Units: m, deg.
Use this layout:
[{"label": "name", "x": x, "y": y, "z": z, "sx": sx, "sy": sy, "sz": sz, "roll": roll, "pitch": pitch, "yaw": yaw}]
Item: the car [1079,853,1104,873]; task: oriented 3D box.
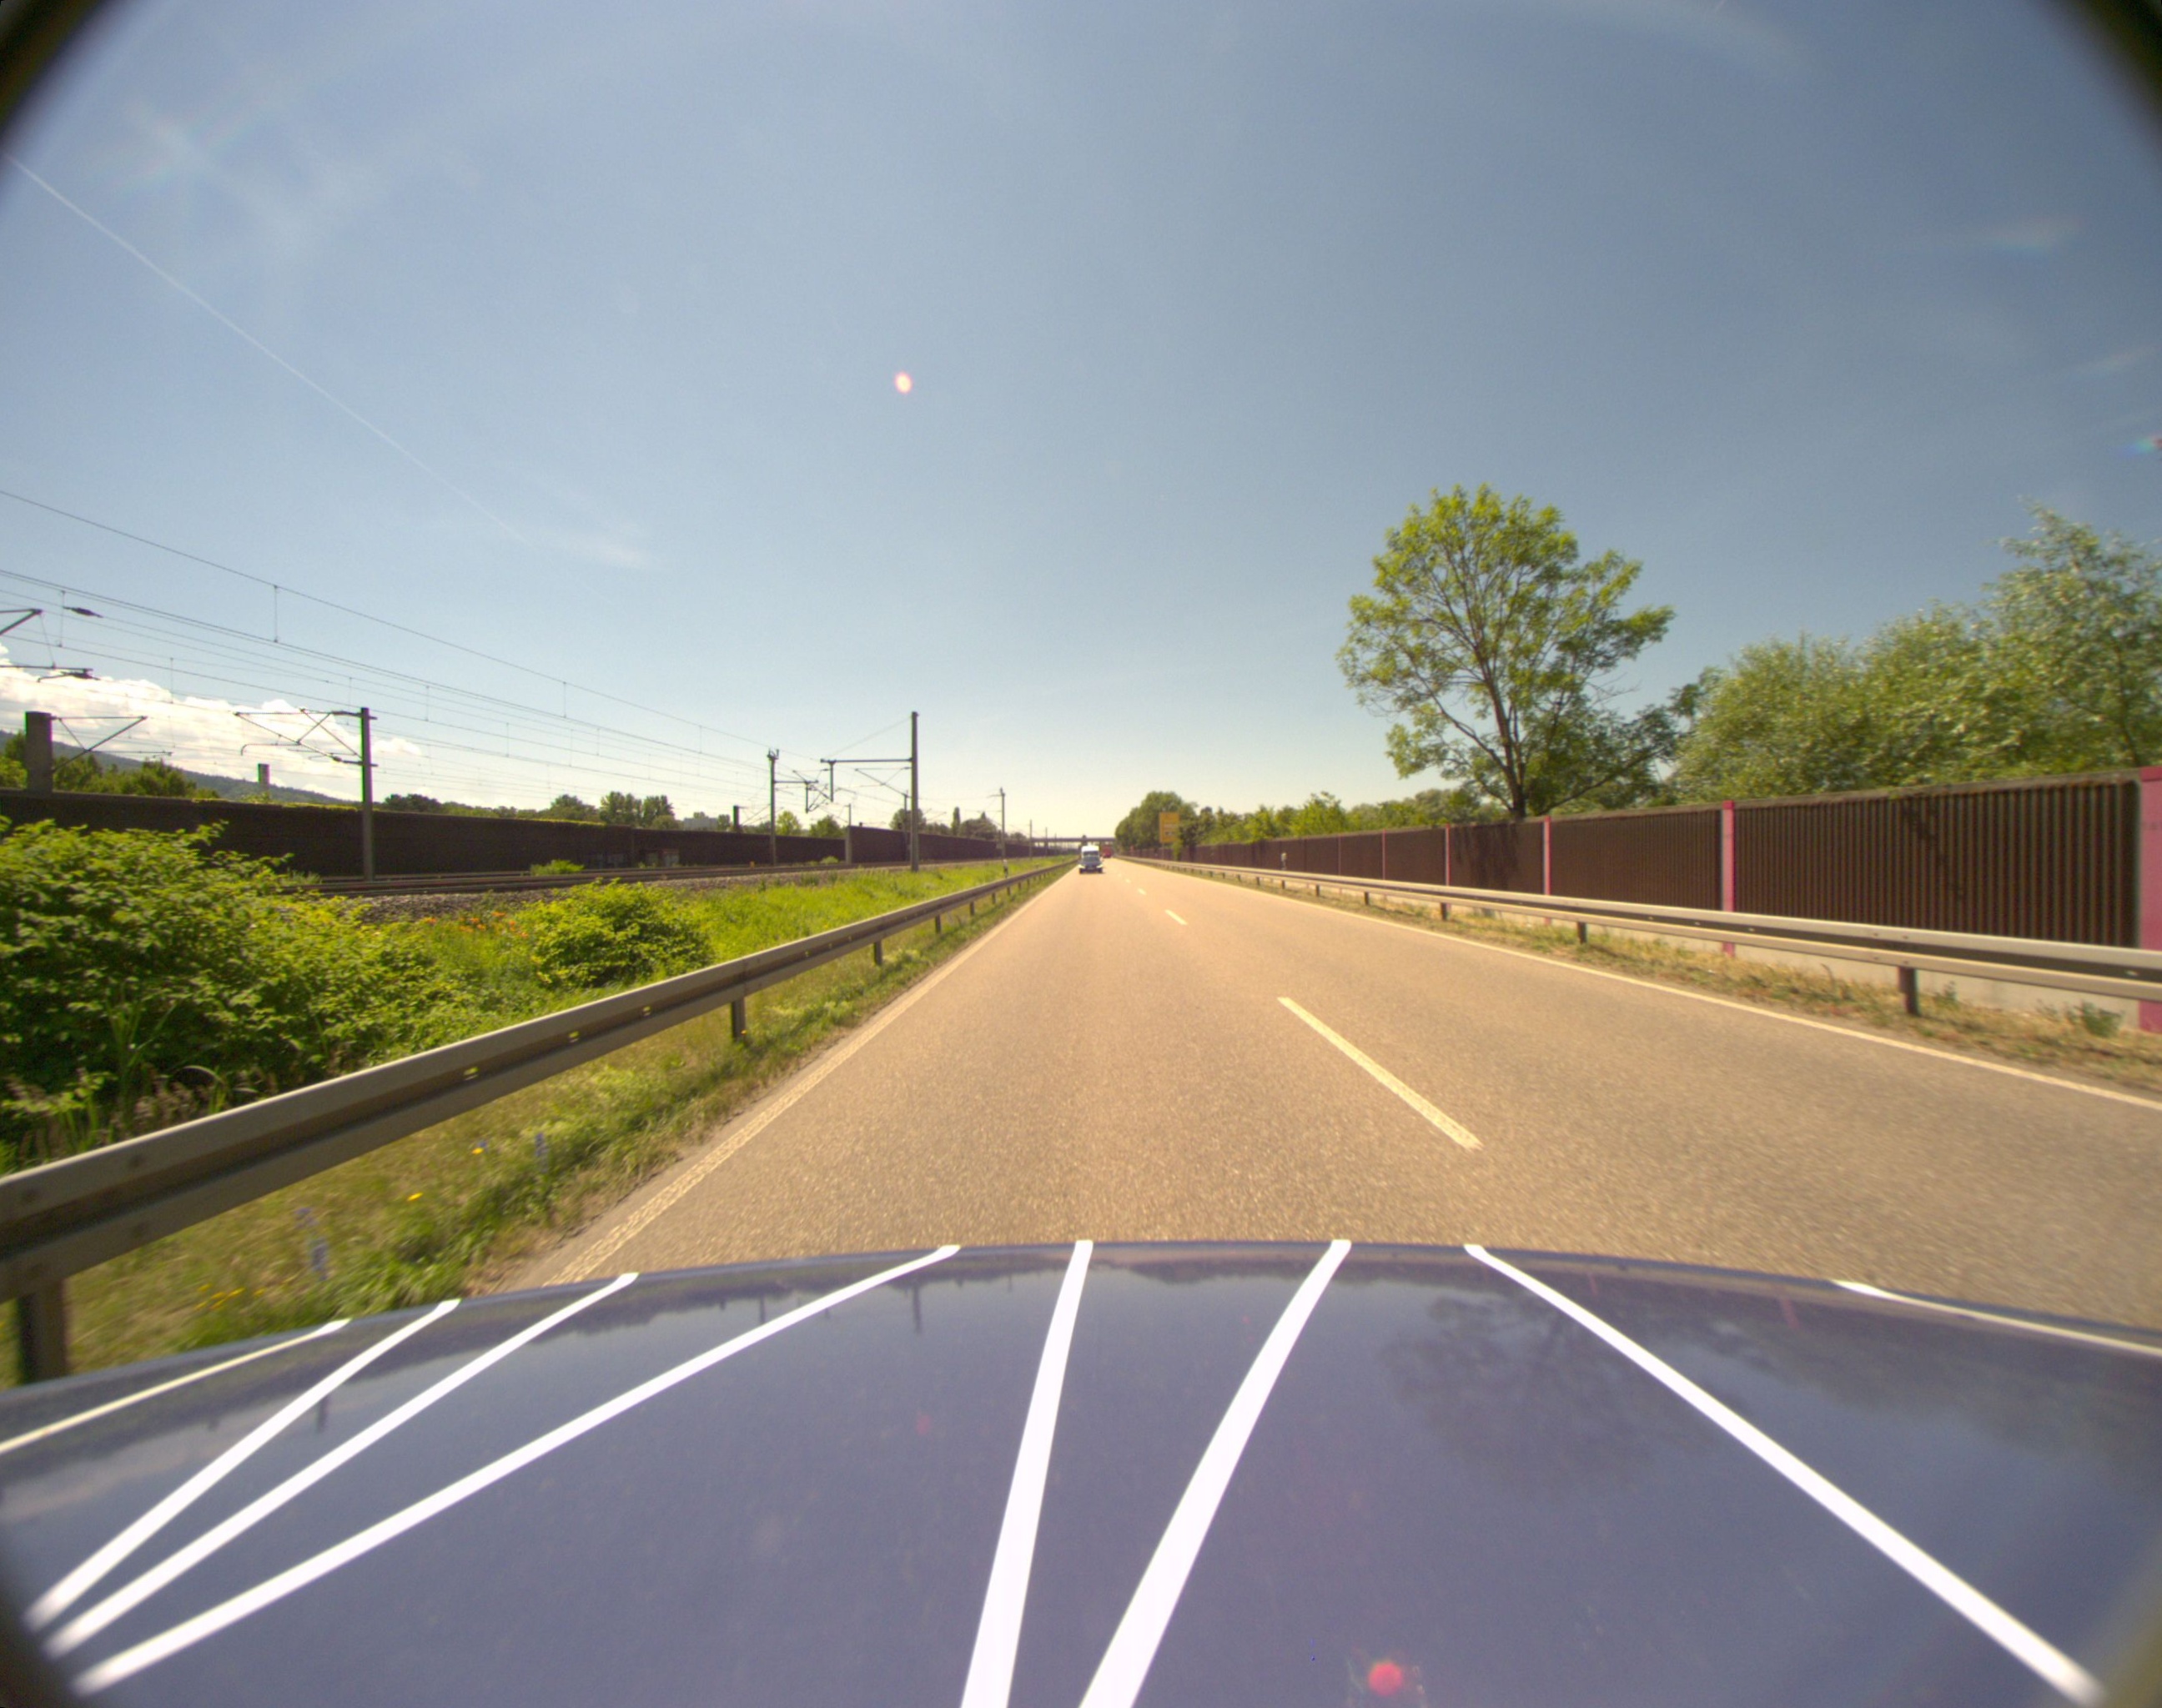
[{"label": "car", "x": 0.827, "y": 0.667, "z": 58.556, "sx": 1.758, "sy": 1.313, "sz": 4.000, "roll": -3, "pitch": 0, "yaw": 1}]

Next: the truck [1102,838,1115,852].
[{"label": "truck", "x": 7.893, "y": -2.511, "z": 218.277, "sx": 3.132, "sy": 3.942, "sz": 9.718, "roll": -3, "pitch": 0, "yaw": 1}]

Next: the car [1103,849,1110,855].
[{"label": "car", "x": 6.933, "y": -0.512, "z": 206.811, "sx": 1.994, "sy": 1.486, "sz": 4.492, "roll": -3, "pitch": 0, "yaw": 1}]

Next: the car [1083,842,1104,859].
[{"label": "car", "x": 1.393, "y": -0.388, "z": 83.885, "sx": 2.161, "sy": 1.701, "sz": 4.492, "roll": -3, "pitch": 0, "yaw": 1}]
